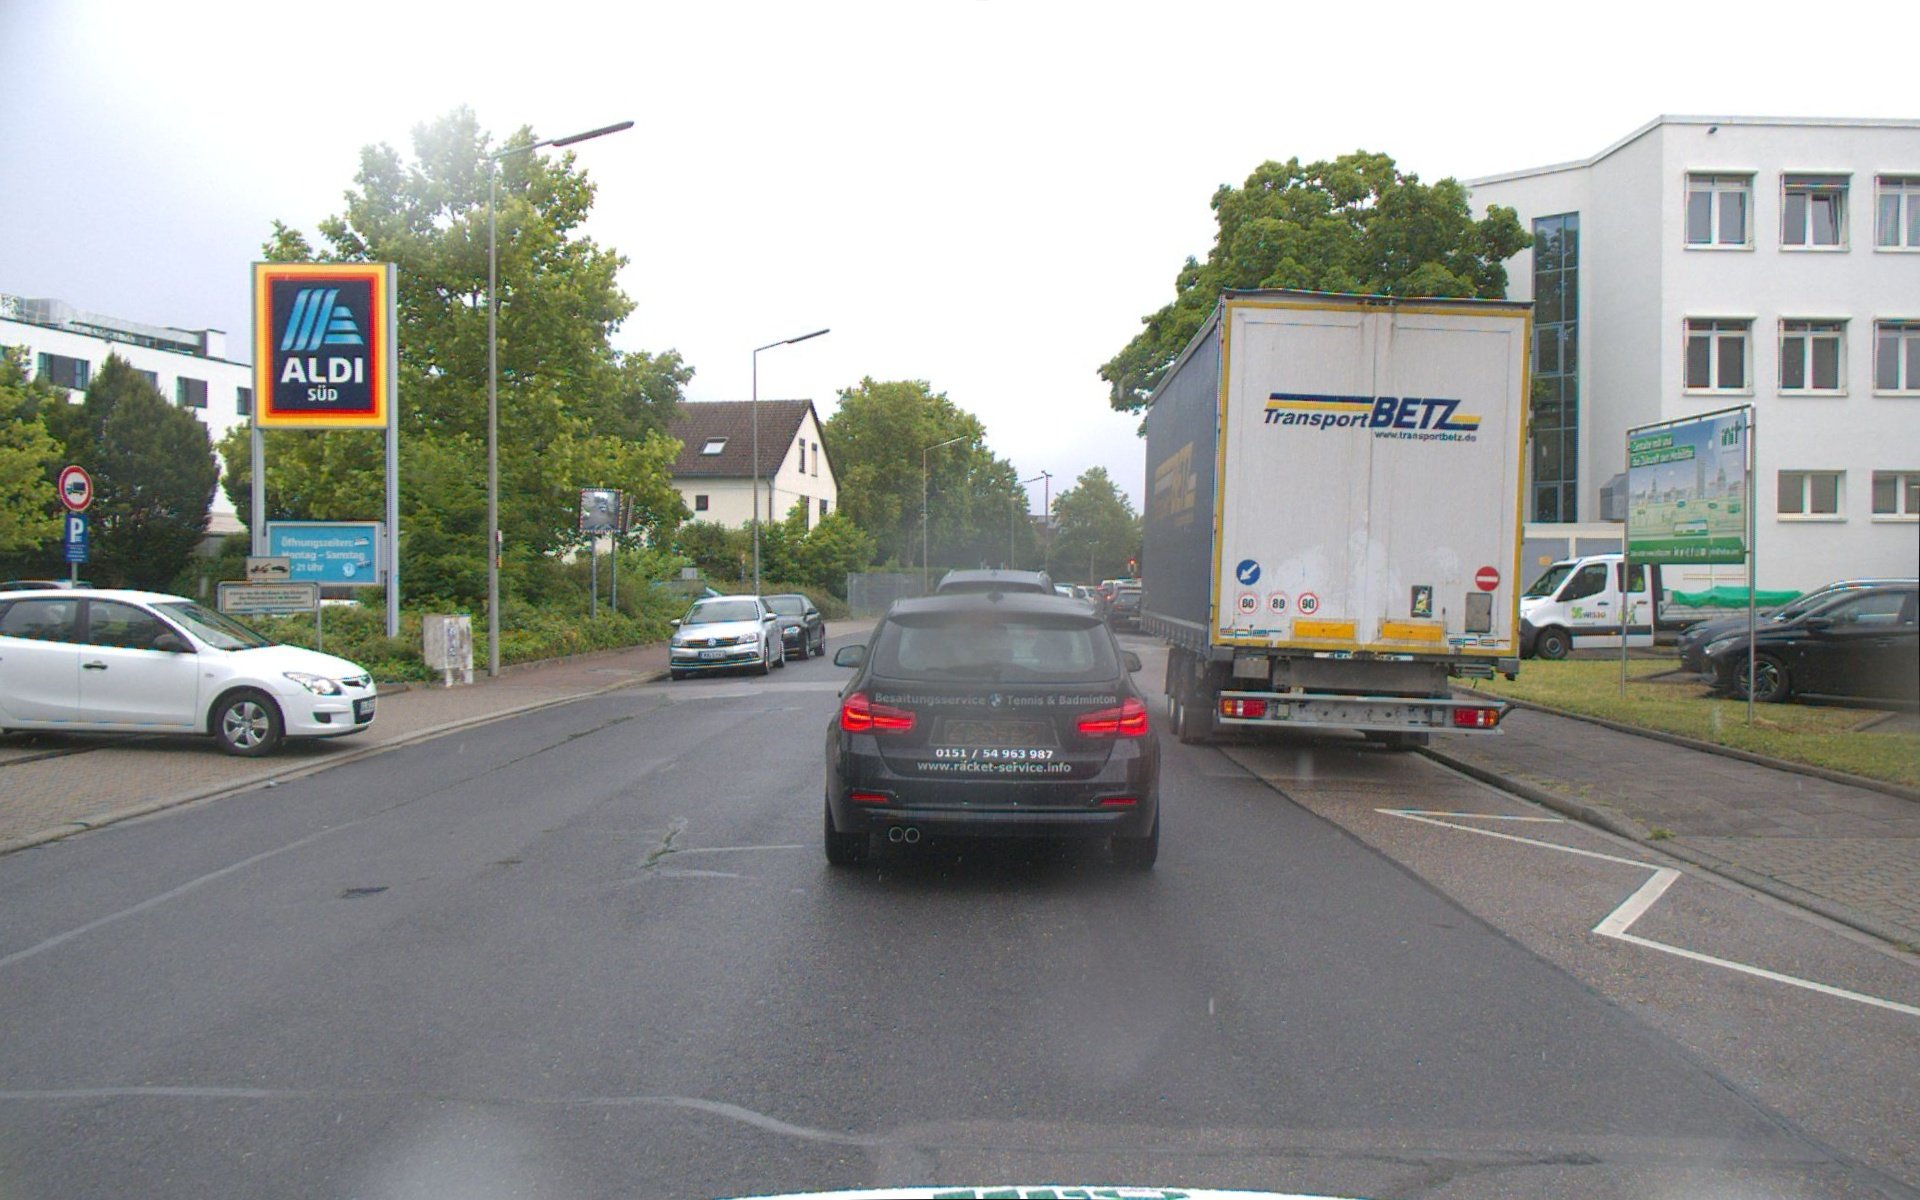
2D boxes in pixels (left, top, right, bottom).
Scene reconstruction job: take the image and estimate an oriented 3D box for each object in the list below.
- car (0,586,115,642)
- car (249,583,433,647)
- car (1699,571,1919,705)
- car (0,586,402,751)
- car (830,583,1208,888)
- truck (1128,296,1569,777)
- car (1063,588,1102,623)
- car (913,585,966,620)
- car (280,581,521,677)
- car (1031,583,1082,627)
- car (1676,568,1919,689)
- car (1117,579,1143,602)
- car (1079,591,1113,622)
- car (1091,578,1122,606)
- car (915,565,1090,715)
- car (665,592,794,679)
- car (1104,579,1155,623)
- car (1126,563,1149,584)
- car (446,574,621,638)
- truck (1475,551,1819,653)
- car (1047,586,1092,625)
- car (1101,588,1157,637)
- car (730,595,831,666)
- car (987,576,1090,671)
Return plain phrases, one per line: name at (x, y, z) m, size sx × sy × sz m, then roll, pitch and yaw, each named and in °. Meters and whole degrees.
car at (-26.127, 0.382, 46.272) m, size 3.905 × 1.526 × 2.000 m, roll 0°, pitch 0°, yaw 0°
car at (-15.535, 0.354, 41.639) m, size 3.906 × 1.567 × 1.910 m, roll 0°, pitch 0°, yaw -1°
car at (11.094, 0.449, 19.880) m, size 3.709 × 1.420 × 1.719 m, roll 4°, pitch 3°, yaw 39°
car at (-7.760, 0.630, 16.059) m, size 4.108 × 1.485 × 1.711 m, roll 1°, pitch 0°, yaw -5°
car at (0.166, 0.640, 9.774) m, size 1.768 × 1.419 × 3.997 m, roll 1°, pitch 0°, yaw -4°
truck at (3.453, -0.528, 16.900) m, size 2.685 × 3.674 × 7.751 m, roll 2°, pitch 0°, yaw 1°
car at (5.990, 0.265, 80.694) m, size 1.766 × 1.614 × 4.003 m, roll 1°, pitch 0°, yaw 6°
car at (-0.879, 0.095, 73.488) m, size 1.669 × 1.391 × 3.841 m, roll -2°, pitch 1°, yaw 9°
car at (-9.507, 0.478, 28.299) m, size 3.496 × 1.485 × 1.712 m, roll 2°, pitch 0°, yaw 0°
car at (3.812, 0.188, 64.717) m, size 1.766 × 1.614 × 4.003 m, roll 1°, pitch 0°, yaw 6°
car at (11.995, 0.352, 22.198) m, size 4.073 × 1.440 × 1.683 m, roll 2°, pitch 3°, yaw 39°
car at (11.957, -0.695, 116.098) m, size 1.766 × 1.614 × 4.003 m, roll 0°, pitch 1°, yaw 6°
car at (7.422, 0.341, 89.978) m, size 1.766 × 1.614 × 4.003 m, roll 1°, pitch 0°, yaw 6°
car at (8.686, -0.476, 98.150) m, size 1.766 × 1.614 × 4.003 m, roll 0°, pitch 1°, yaw 6°
car at (0.409, 0.434, 19.968) m, size 1.768 × 1.614 × 3.997 m, roll 1°, pitch 0°, yaw -4°
car at (-4.214, 0.605, 30.869) m, size 1.670 × 1.391 × 4.601 m, roll -2°, pitch 1°, yaw 0°
car at (6.427, 0.039, 63.073) m, size 1.766 × 1.614 × 4.002 m, roll 1°, pitch 0°, yaw 4°
car at (13.801, -2.048, 128.425) m, size 1.766 × 1.614 × 4.003 m, roll 0°, pitch 1°, yaw 6°
car at (-10.681, 0.145, 41.629) m, size 3.906 × 1.567 × 1.910 m, roll 0°, pitch 0°, yaw -1°
truck at (15.108, 0.027, 36.639) m, size 6.782 × 2.177 × 2.094 m, roll 0°, pitch 0°, yaw 0°
car at (4.723, 0.219, 71.061) m, size 1.766 × 1.614 × 4.003 m, roll 1°, pitch 0°, yaw 6°
car at (5.786, 0.424, 57.019) m, size 1.766 × 1.614 × 4.002 m, roll 1°, pitch 0°, yaw 4°
car at (-3.937, 0.634, 36.833) m, size 1.670 × 1.391 × 3.839 m, roll -2°, pitch 1°, yaw 2°
car at (1.502, 0.406, 30.735) m, size 1.766 × 1.614 × 4.002 m, roll 1°, pitch 0°, yaw 4°
